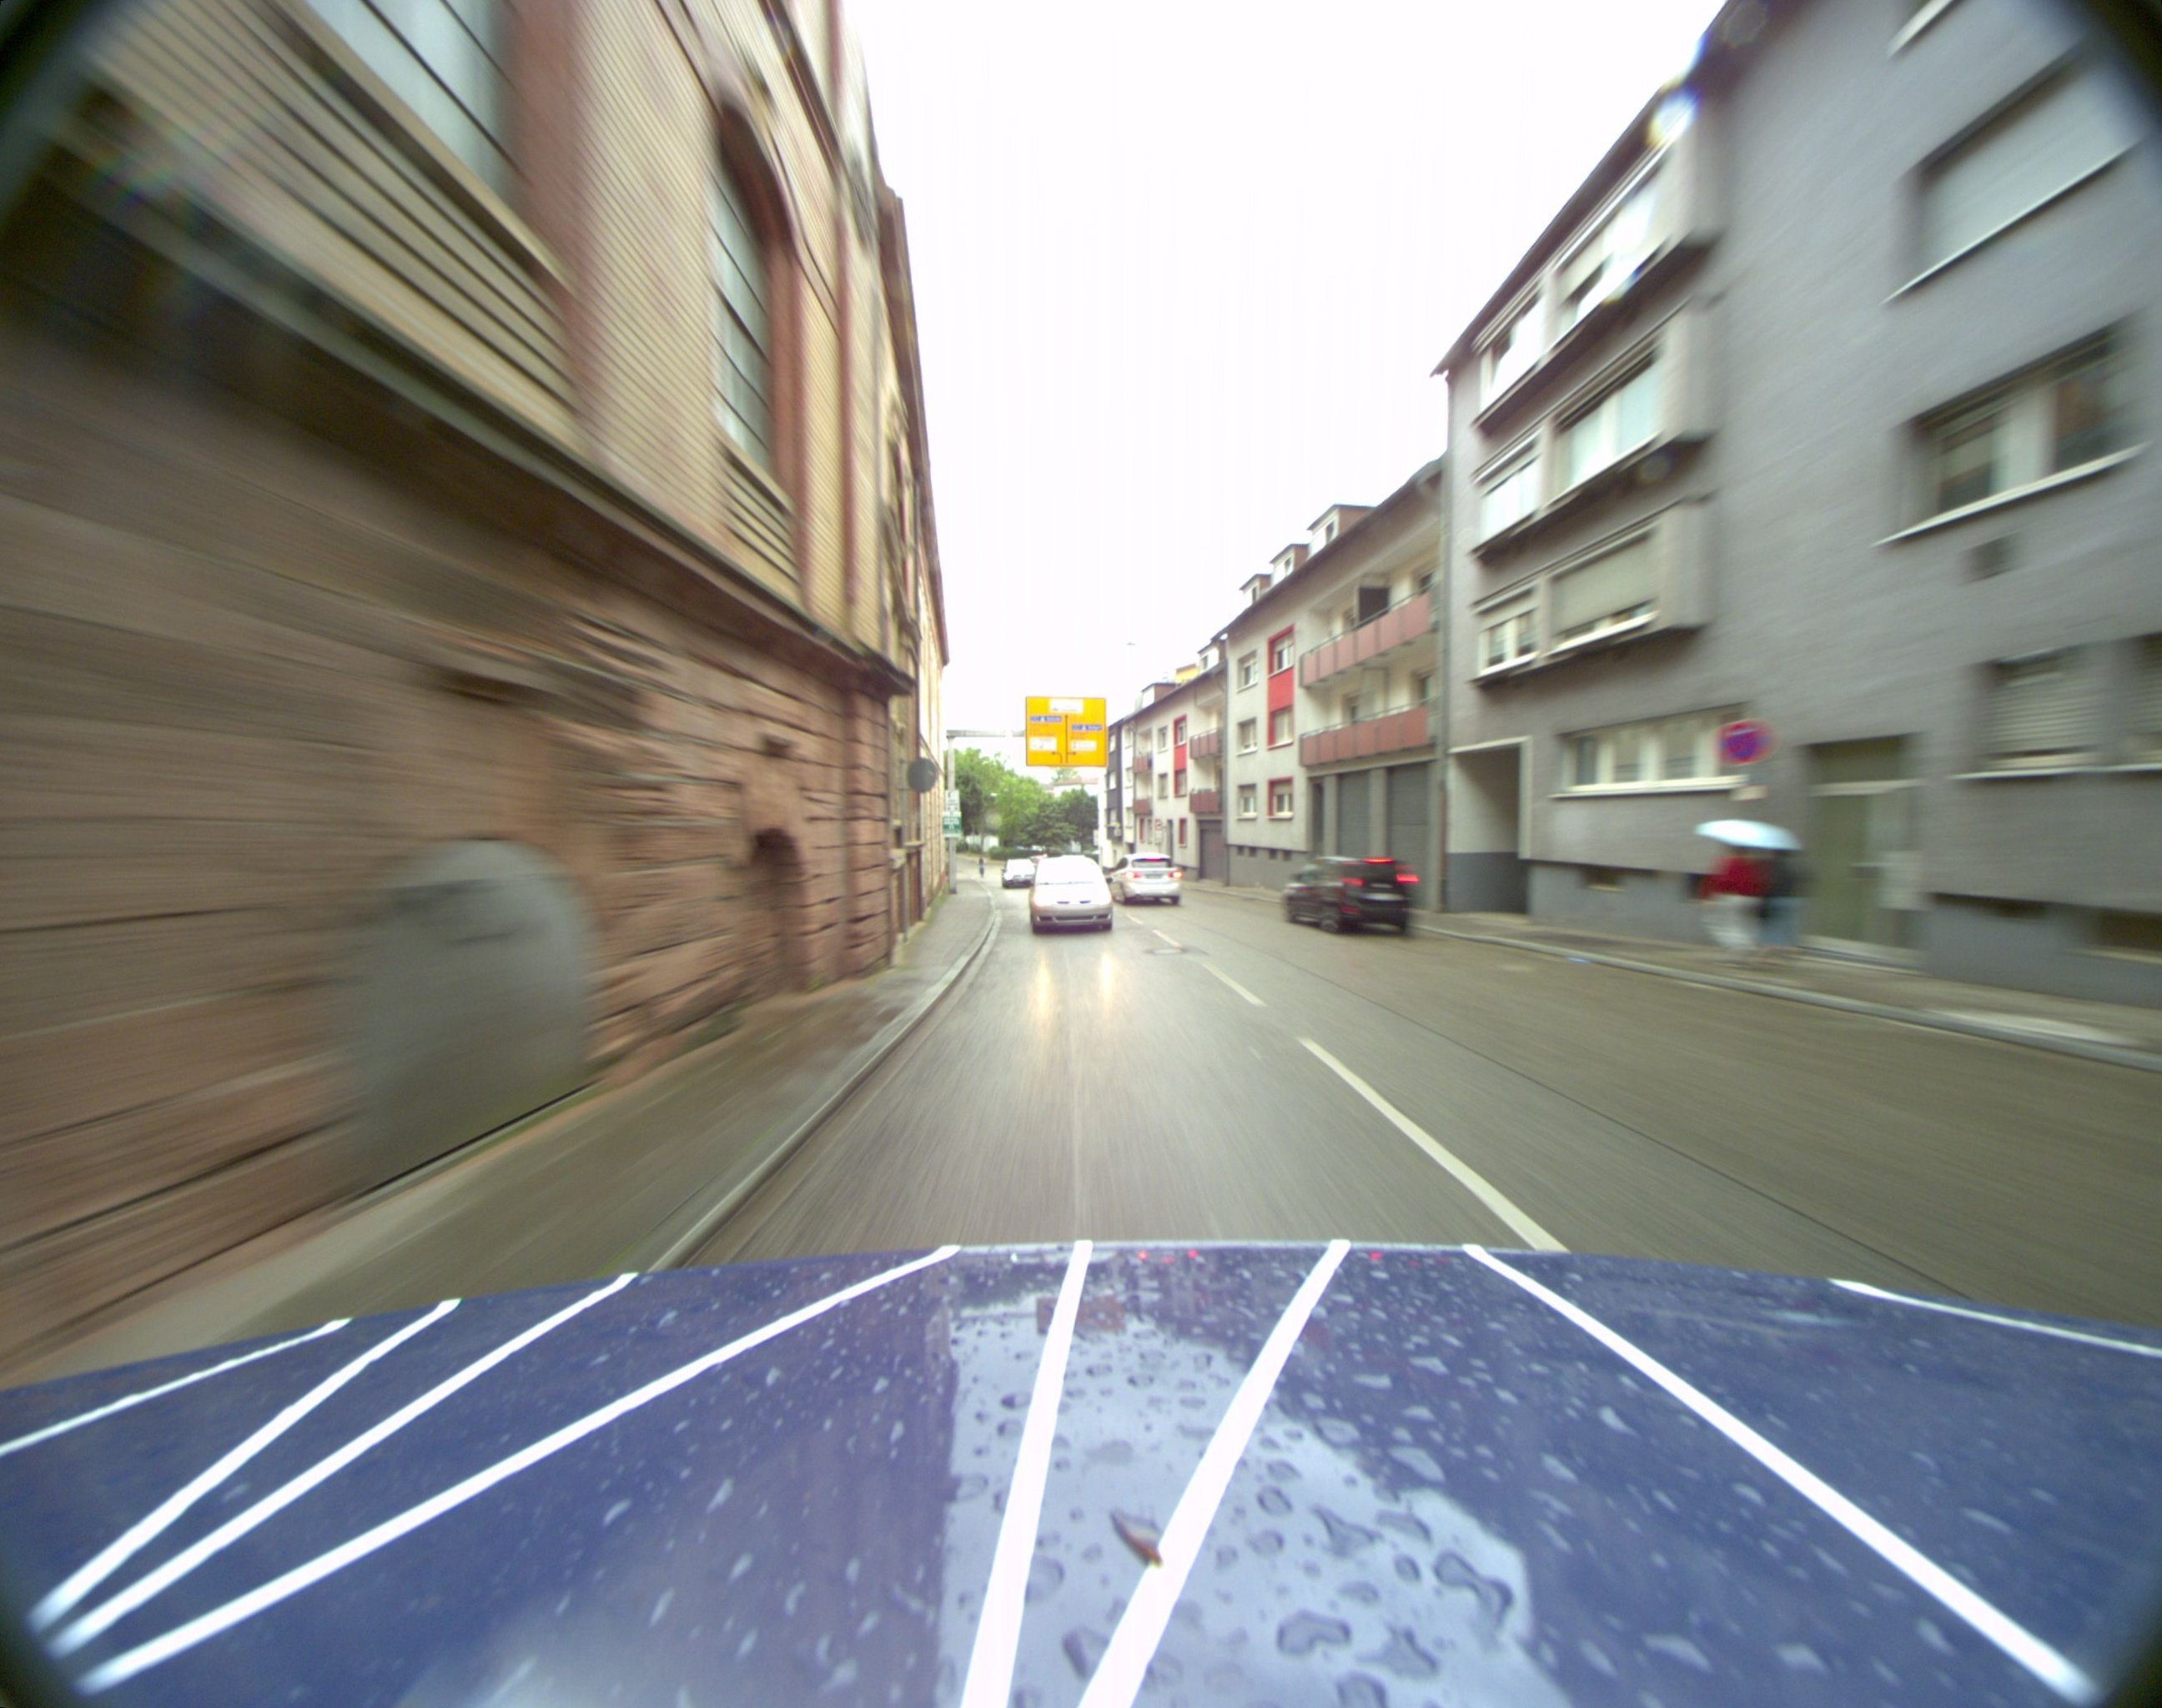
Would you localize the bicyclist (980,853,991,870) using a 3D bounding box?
[{"bbox_3d":[-8.490,0.642,67.575,0.889,1.481,0.967,-2,2,-10],"label":"bicyclist"}]

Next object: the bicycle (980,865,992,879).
[{"bbox_3d":[-8.481,1.612,67.700,0.889,1.181,2.131,-2,1,-10],"label":"bicycle"}]

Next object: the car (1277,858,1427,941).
[{"bbox_3d":[5.421,0.855,15.631,1.649,1.488,3.375,1,0,-4],"label":"car"}]

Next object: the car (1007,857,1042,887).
[{"bbox_3d":[-2.965,0.929,39.804,1.687,1.418,3.837,-3,0,-5],"label":"car"}]

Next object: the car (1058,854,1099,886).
[{"bbox_3d":[-0.169,0.777,39.819,1.770,1.567,3.762,0,1,-6],"label":"car"}]

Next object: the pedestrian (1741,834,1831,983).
[{"bbox_3d":[8.620,0.643,9.307,0.524,1.765,0.622,0,0,-2],"label":"pedestrian"}]

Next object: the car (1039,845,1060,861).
[{"bbox_3d":[-4.324,-0.176,103.617,1.639,1.949,4.203,2,1,-21],"label":"car"}]

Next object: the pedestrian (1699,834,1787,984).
[{"bbox_3d":[8.079,0.650,9.294,0.524,1.765,0.622,0,0,-2],"label":"pedestrian"}]

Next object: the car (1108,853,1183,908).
[{"bbox_3d":[1.988,0.778,24.506,1.769,1.567,4.034,0,1,-5],"label":"car"}]

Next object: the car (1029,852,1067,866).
[{"bbox_3d":[-3.757,0.550,86.561,4.006,1.501,1.796,-1,0,-31],"label":"car"}]

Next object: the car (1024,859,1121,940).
[{"bbox_3d":[-0.302,0.908,16.956,1.687,1.496,3.836,-3,0,-7],"label":"car"}]

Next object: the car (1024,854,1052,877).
[{"bbox_3d":[-3.234,0.834,56.752,1.770,1.648,3.984,0,1,-7],"label":"car"}]
